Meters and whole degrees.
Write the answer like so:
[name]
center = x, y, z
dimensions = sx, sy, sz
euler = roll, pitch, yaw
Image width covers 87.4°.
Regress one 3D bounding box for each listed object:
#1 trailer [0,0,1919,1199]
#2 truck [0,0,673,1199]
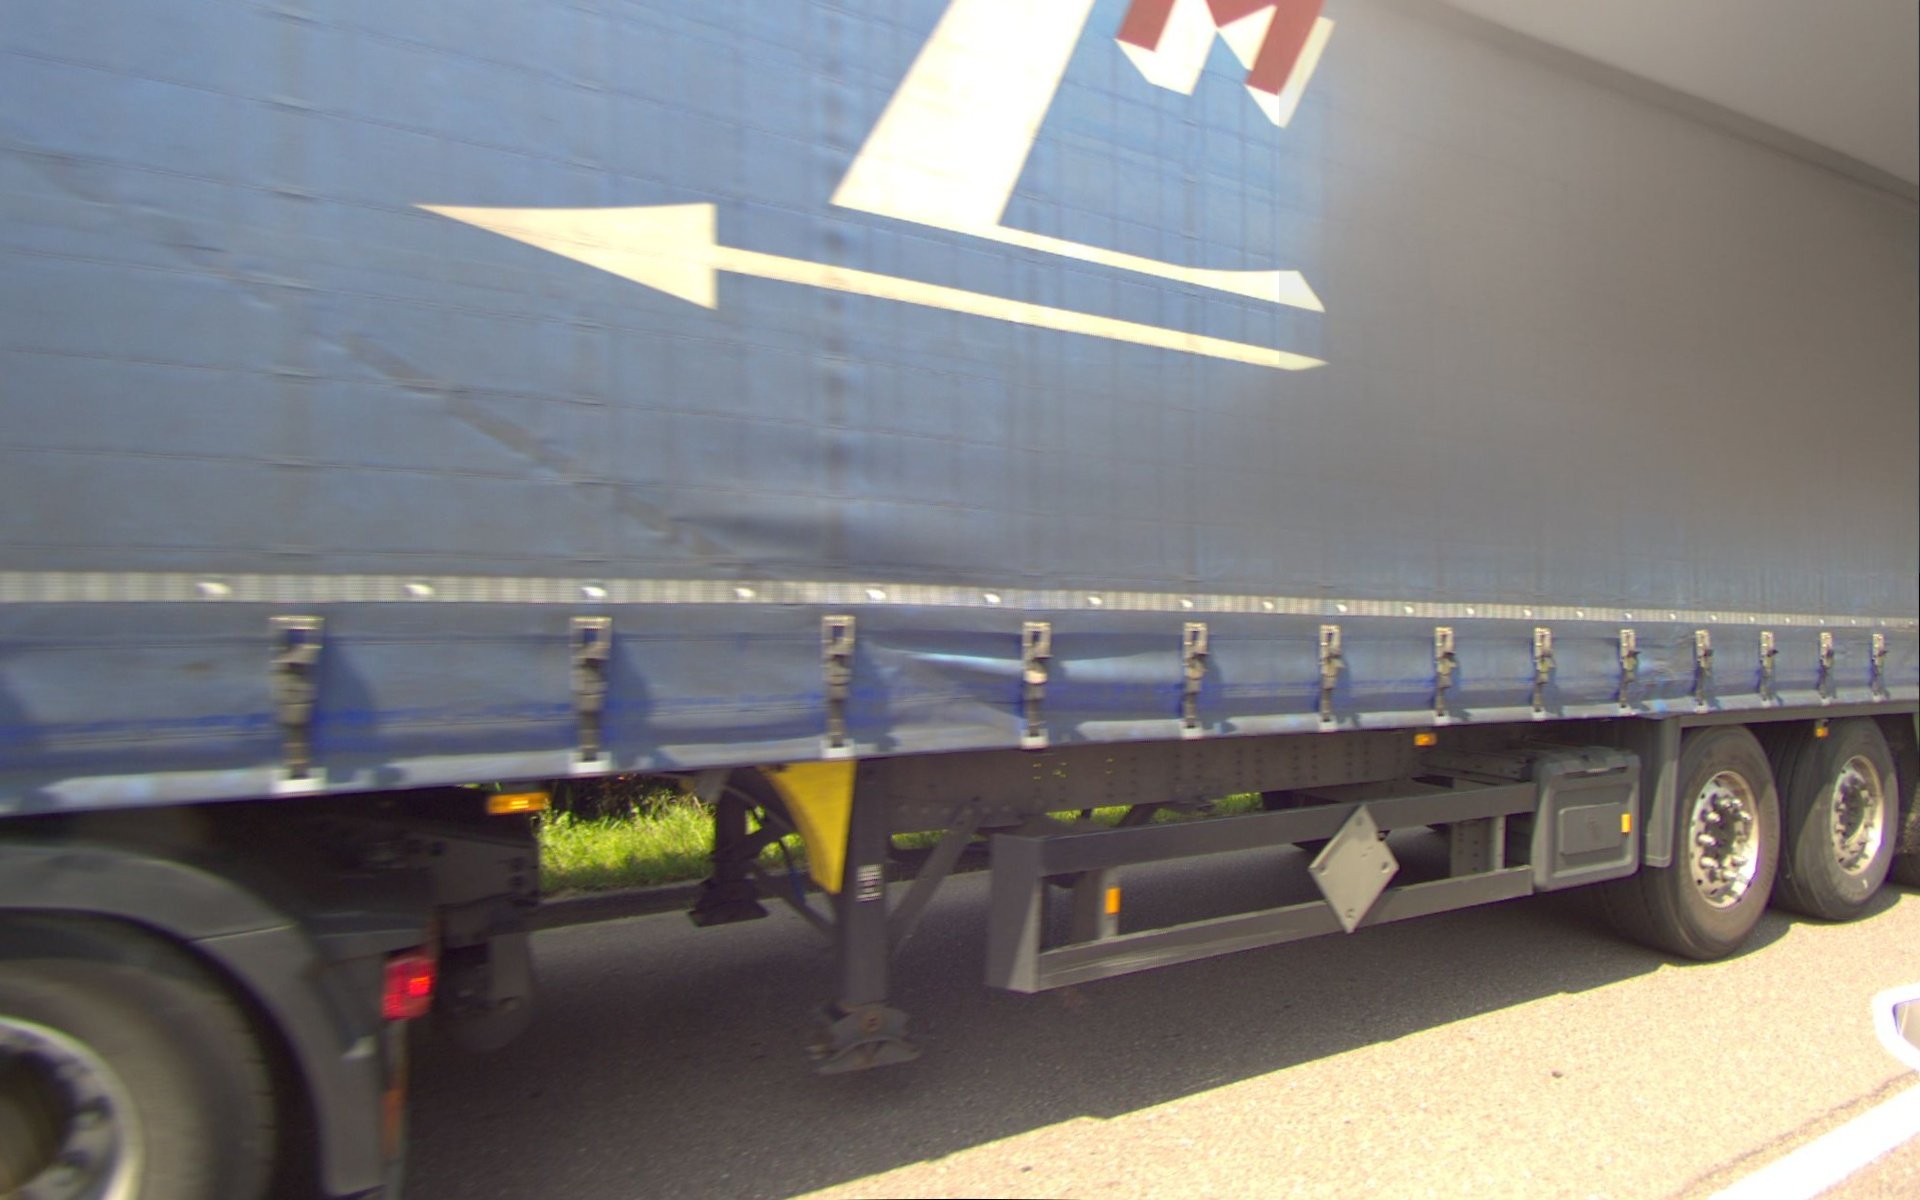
[trailer]
center = 2.359, -0.644, 5.107
dimensions = 14.386, 4.298, 2.658
euler = 1, 1, -29
[truck]
center = -3.801, -0.762, 1.658
dimensions = 6.037, 4.314, 2.503
euler = 1, -1, -28
